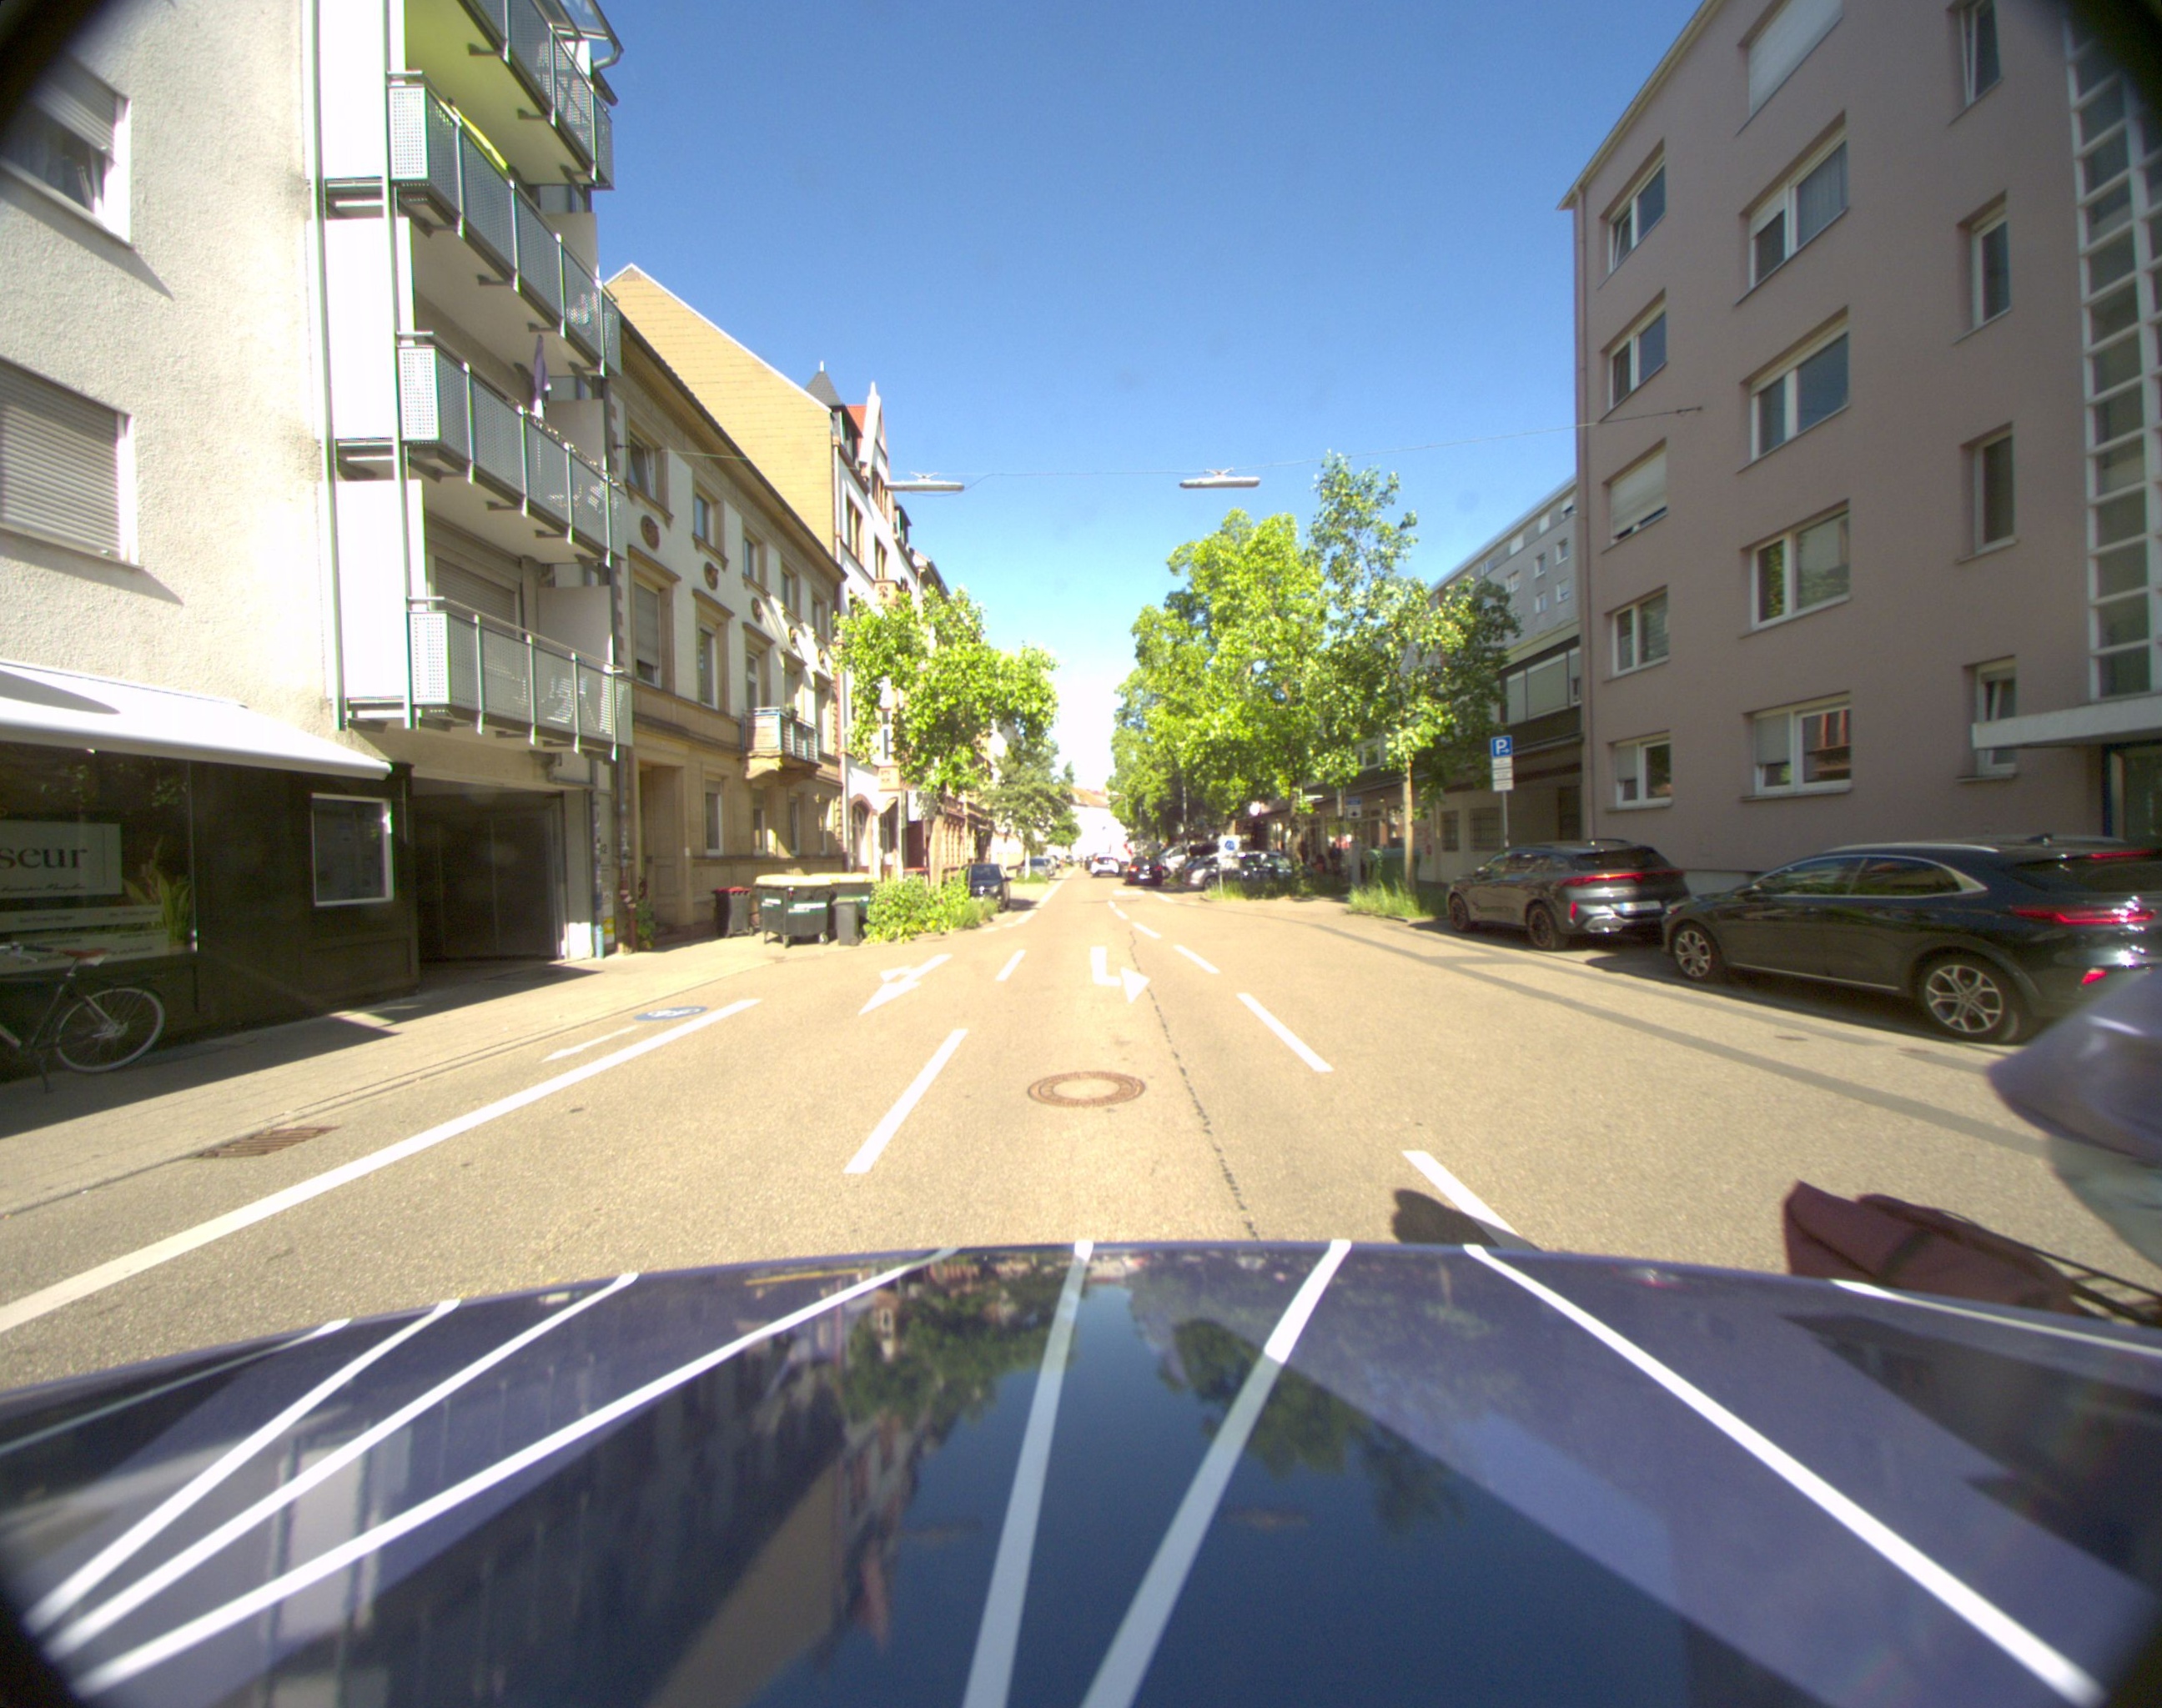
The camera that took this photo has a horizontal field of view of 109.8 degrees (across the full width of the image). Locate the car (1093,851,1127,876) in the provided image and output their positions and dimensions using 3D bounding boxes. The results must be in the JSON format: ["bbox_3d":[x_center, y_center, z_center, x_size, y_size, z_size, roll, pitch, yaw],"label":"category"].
[{"bbox_3d":[1.943,0.567,50.070,1.768,1.528,3.788,-2,0,9],"label":"car"}]

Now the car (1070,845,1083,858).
[{"bbox_3d":[-0.740,-0.424,126.540,1.998,2.002,4.000,-2,0,1],"label":"car"}]

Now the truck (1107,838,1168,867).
[{"bbox_3d":[5.315,-0.169,71.622,5.322,2.581,1.998,-2,1,-9],"label":"truck"}]

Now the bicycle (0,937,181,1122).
[{"bbox_3d":[-7.751,1.288,5.445,0.402,1.171,1.792,-2,0,1],"label":"bicycle"}]

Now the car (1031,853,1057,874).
[{"bbox_3d":[-2.639,0.663,55.201,1.653,1.483,3.290,-2,0,0],"label":"car"}]

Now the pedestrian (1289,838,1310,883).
[{"bbox_3d":[9.973,0.296,34.730,0.753,2.002,0.566,-1,1,1],"label":"pedestrian"}]

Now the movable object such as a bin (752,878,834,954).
[{"bbox_3d":[-5.593,1.167,14.776,1.212,1.318,1.052,2,3,42],"label":"movable object such as a bin"}]

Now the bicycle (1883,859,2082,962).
[{"bbox_3d":[10.756,0.623,9.153,0.391,1.070,1.650,-6,1,2],"label":"bicycle"}]

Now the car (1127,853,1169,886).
[{"bbox_3d":[3.232,0.725,37.542,1.867,1.455,4.000,-2,0,3],"label":"car"}]

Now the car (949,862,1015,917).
[{"bbox_3d":[-2.974,1.020,23.364,1.551,1.483,3.351,-2,0,0],"label":"car"}]

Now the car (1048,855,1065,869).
[{"bbox_3d":[-2.738,0.857,85.964,1.653,1.447,3.290,-2,0,1],"label":"car"}]

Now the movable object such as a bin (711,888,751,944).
[{"bbox_3d":[-7.324,1.278,15.891,0.615,1.075,0.568,2,3,42],"label":"movable object such as a bin"}]

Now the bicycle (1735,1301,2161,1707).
[{"bbox_3d":[1.732,1.384,0.683,0.612,0.876,1.813,-1,-1,-5],"label":"bicycle"}]

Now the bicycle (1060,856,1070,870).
[{"bbox_3d":[-1.385,0.754,65.912,0.778,1.139,2.259,-3,1,1],"label":"bicycle"}]

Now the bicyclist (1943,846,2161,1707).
[{"bbox_3d":[1.688,0.651,0.687,0.610,1.338,1.018,-2,0,-5],"label":"bicyclist"}]

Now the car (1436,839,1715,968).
[{"bbox_3d":[7.585,0.653,12.256,1.821,1.583,4.141,-5,0,2],"label":"car"}]

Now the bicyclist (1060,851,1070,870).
[{"bbox_3d":[-1.398,0.525,65.885,0.748,1.588,0.613,-3,1,1],"label":"bicyclist"}]

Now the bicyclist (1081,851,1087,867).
[{"bbox_3d":[0.359,0.591,91.342,0.578,1.911,0.613,-3,1,1],"label":"bicyclist"}]

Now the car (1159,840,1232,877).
[{"bbox_3d":[6.700,0.274,44.775,3.997,2.020,2.000,-2,1,1],"label":"car"}]

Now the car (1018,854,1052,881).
[{"bbox_3d":[-2.751,0.775,45.887,1.759,1.492,3.949,-2,0,0],"label":"car"}]

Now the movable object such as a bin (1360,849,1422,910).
[{"bbox_3d":[8.129,0.644,19.992,1.247,1.536,1.019,-2,1,5],"label":"movable object such as a bin"}]

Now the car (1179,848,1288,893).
[{"bbox_3d":[6.083,0.644,30.668,3.997,1.665,2.000,-2,1,1],"label":"car"}]

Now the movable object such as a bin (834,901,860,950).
[{"bbox_3d":[-4.583,1.391,14.888,0.401,0.916,0.484,0,2,-7],"label":"movable object such as a bin"}]

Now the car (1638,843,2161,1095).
[{"bbox_3d":[7.512,0.714,6.915,1.821,1.499,4.245,-4,0,2],"label":"car"}]

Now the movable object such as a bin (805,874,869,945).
[{"bbox_3d":[-5.090,1.130,15.853,0.960,1.341,1.066,-1,2,-38],"label":"movable object such as a bin"}]

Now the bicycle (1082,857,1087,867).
[{"bbox_3d":[0.390,0.969,91.312,0.570,1.139,2.259,-3,1,1],"label":"bicycle"}]

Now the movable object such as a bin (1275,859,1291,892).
[{"bbox_3d":[7.614,0.792,28.674,0.488,1.218,0.409,-2,1,1],"label":"movable object such as a bin"}]
